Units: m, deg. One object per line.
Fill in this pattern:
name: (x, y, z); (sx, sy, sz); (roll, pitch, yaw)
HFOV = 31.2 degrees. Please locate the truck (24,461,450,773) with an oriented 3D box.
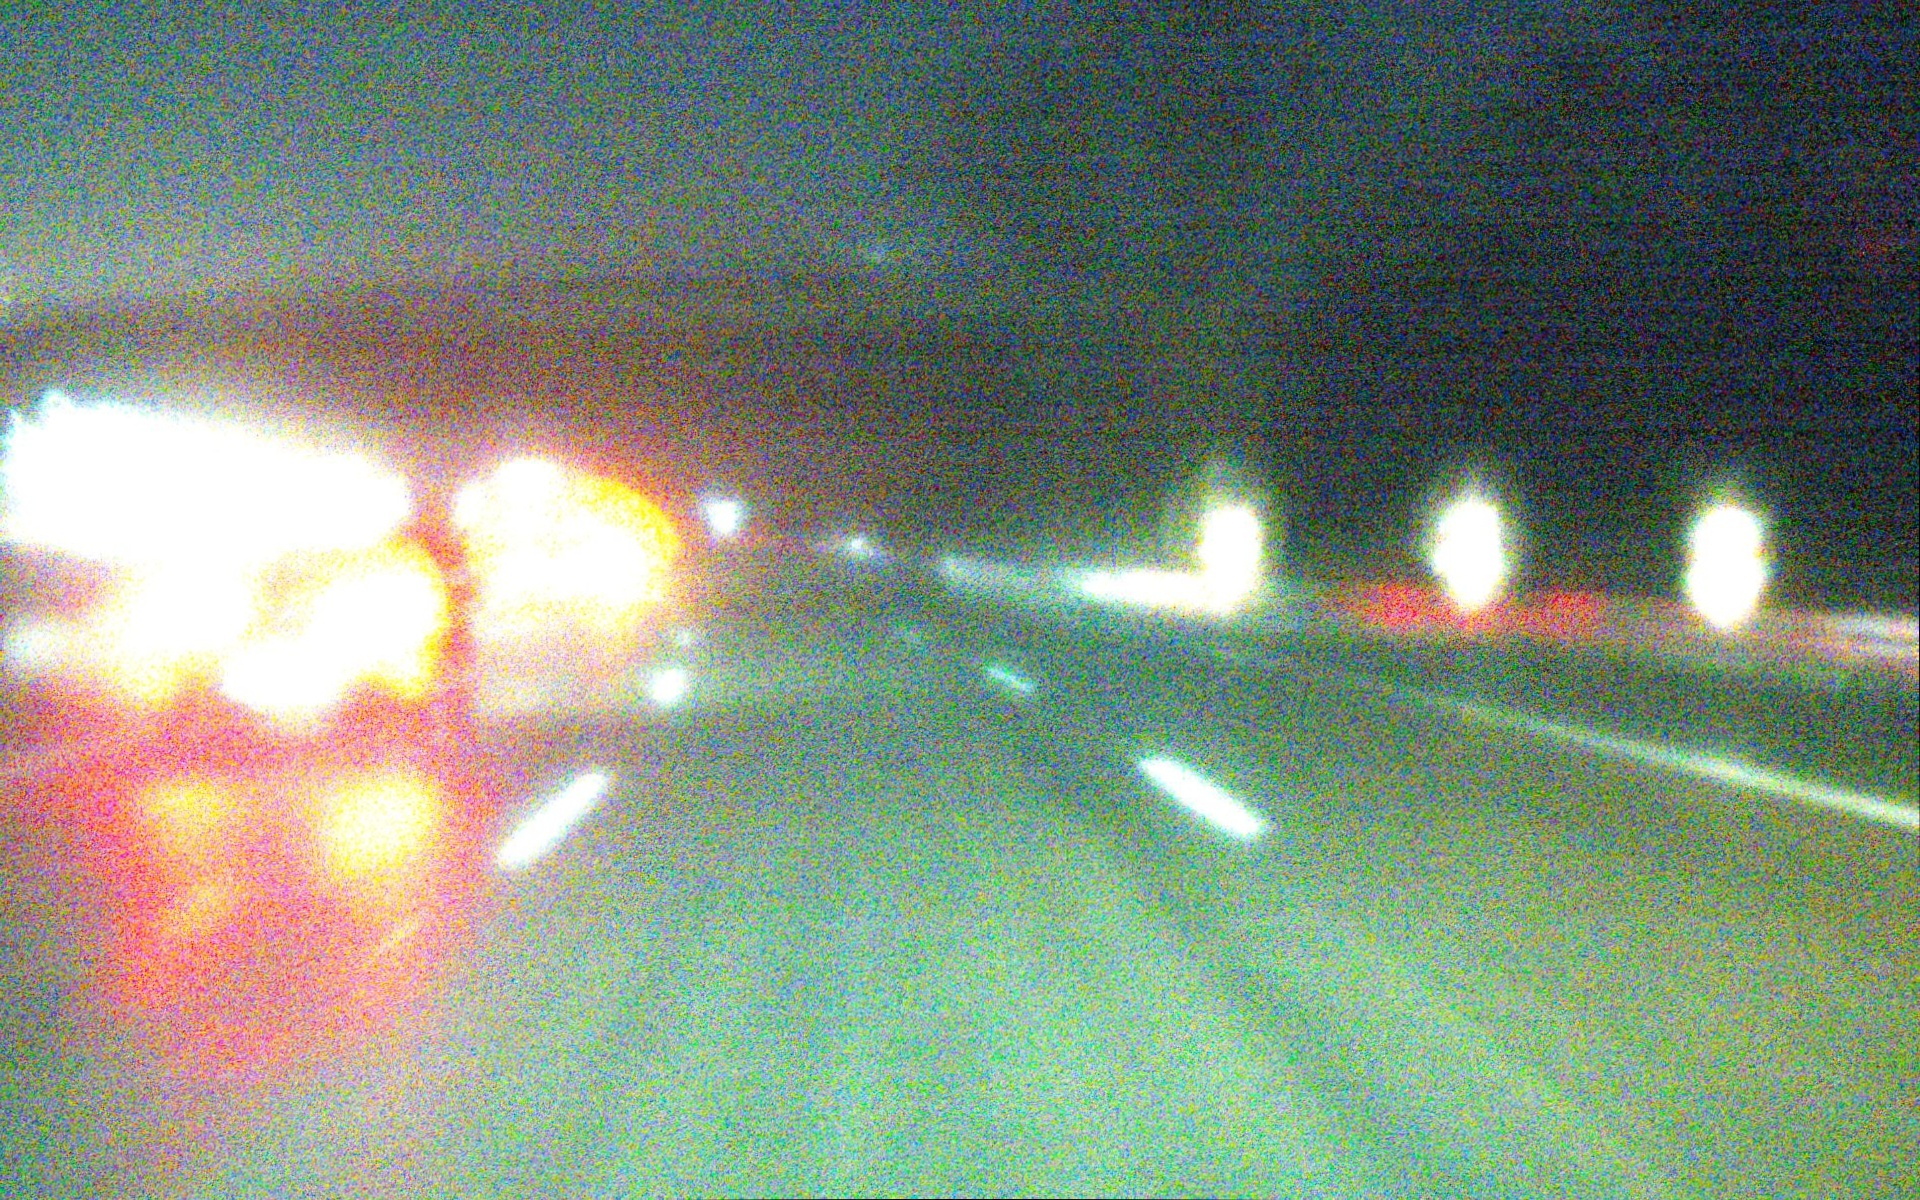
truck: (-5.294, 0.054, 26.171); (2.145, 2.070, 6.604); (0, 1, -3)

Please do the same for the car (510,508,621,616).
car: (-8.387, -0.834, 73.445); (1.993, 2.006, 4.001); (4, 3, -3)
